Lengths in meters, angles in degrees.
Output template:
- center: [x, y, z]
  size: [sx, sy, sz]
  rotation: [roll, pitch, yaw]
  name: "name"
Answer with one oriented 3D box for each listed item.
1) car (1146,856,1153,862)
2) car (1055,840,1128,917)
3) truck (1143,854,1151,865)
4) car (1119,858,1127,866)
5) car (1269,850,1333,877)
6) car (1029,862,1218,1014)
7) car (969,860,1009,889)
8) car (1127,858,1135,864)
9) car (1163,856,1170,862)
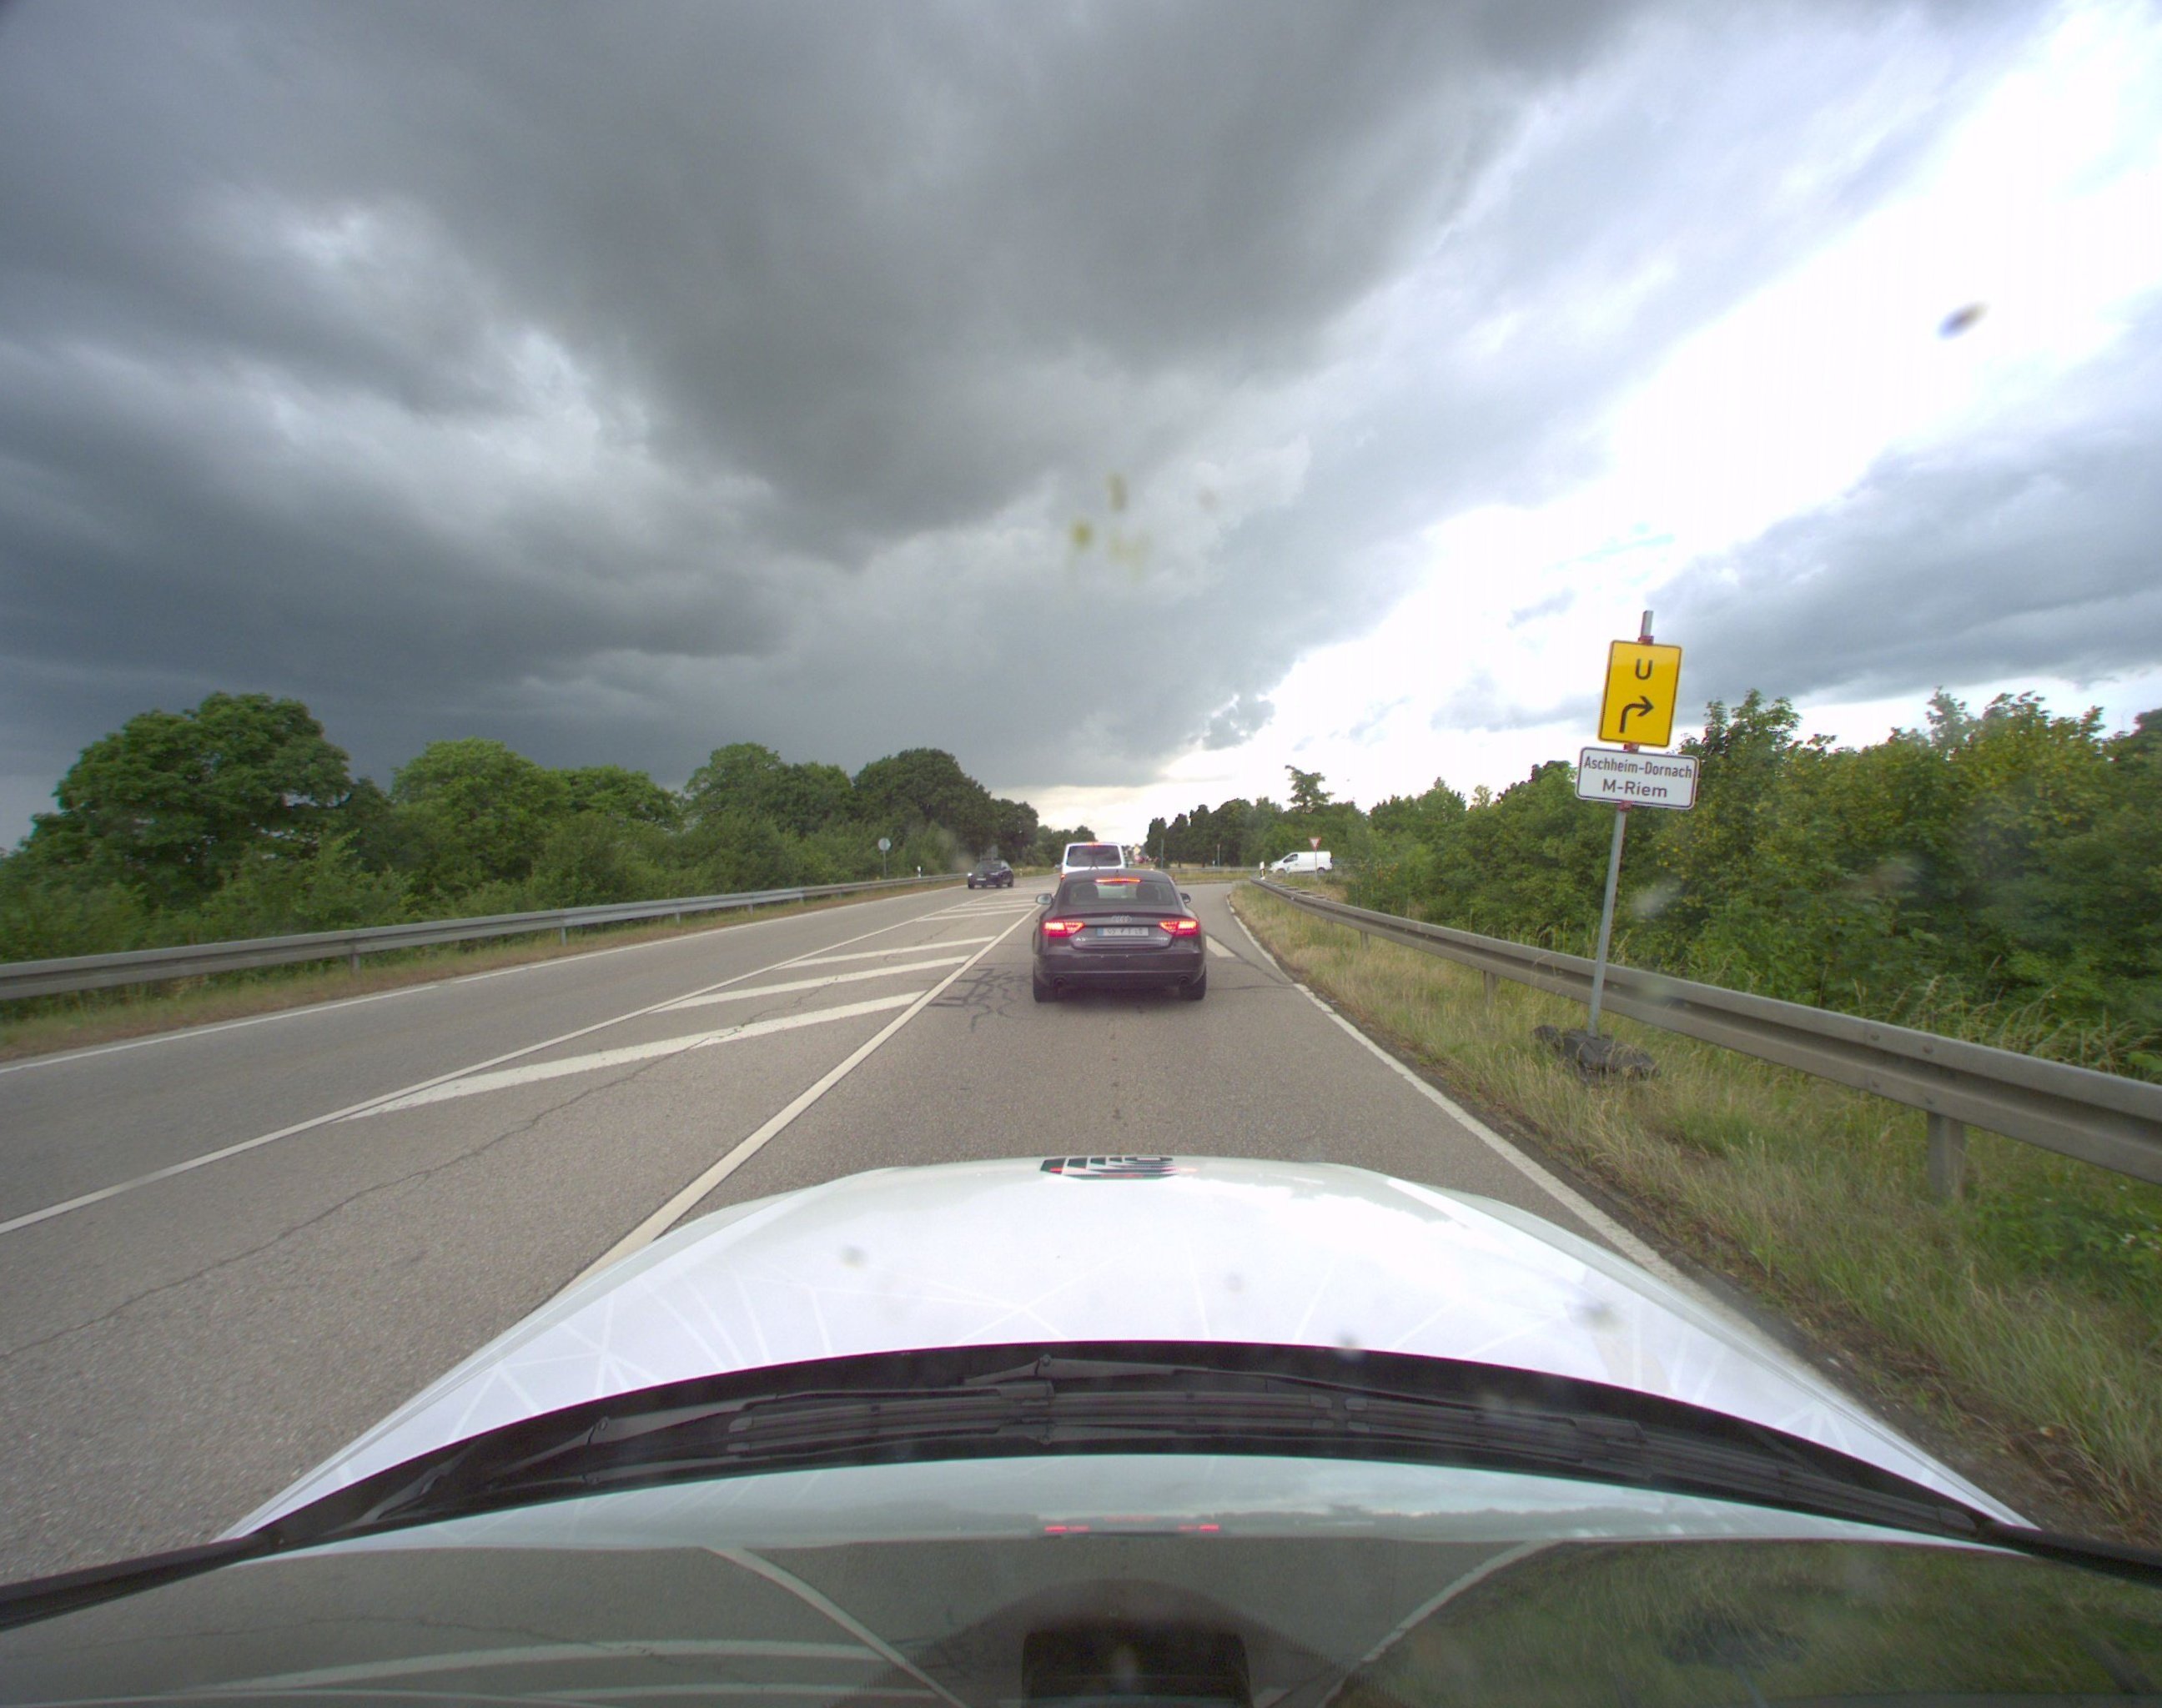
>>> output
- center: [20.590, 1.508, 245.658]
  size: [1.985, 1.692, 4.004]
  rotation: [0, 0, 3]
  name: "car"
- center: [0.295, 0.640, 23.353]
  size: [1.904, 2.013, 4.000]
  rotation: [0, 0, 0]
  name: "car"
- center: [18.425, 1.454, 227.541]
  size: [1.985, 2.918, 5.799]
  rotation: [0, 0, 4]
  name: "truck"
- center: [10.830, 2.105, 210.786]
  size: [1.985, 2.013, 4.003]
  rotation: [0, 0, 3]
  name: "car"
- center: [17.556, 0.742, 65.265]
  size: [4.827, 2.064, 2.095]
  rotation: [0, 0, 12]
  name: "car"
- center: [0.415, 0.811, 9.378]
  size: [1.774, 1.399, 3.336]
  rotation: [-1, 0, 0]
  name: "car"
- center: [-5.202, 1.107, 46.333]
  size: [1.704, 1.518, 4.210]
  rotation: [0, 0, 1]
  name: "car"
- center: [14.158, 1.940, 230.484]
  size: [2.198, 1.582, 4.379]
  rotation: [0, 0, 0]
  name: "car"
- center: [25.045, 1.333, 238.545]
  size: [1.866, 1.692, 4.008]
  rotation: [0, 0, 7]
  name: "car"
